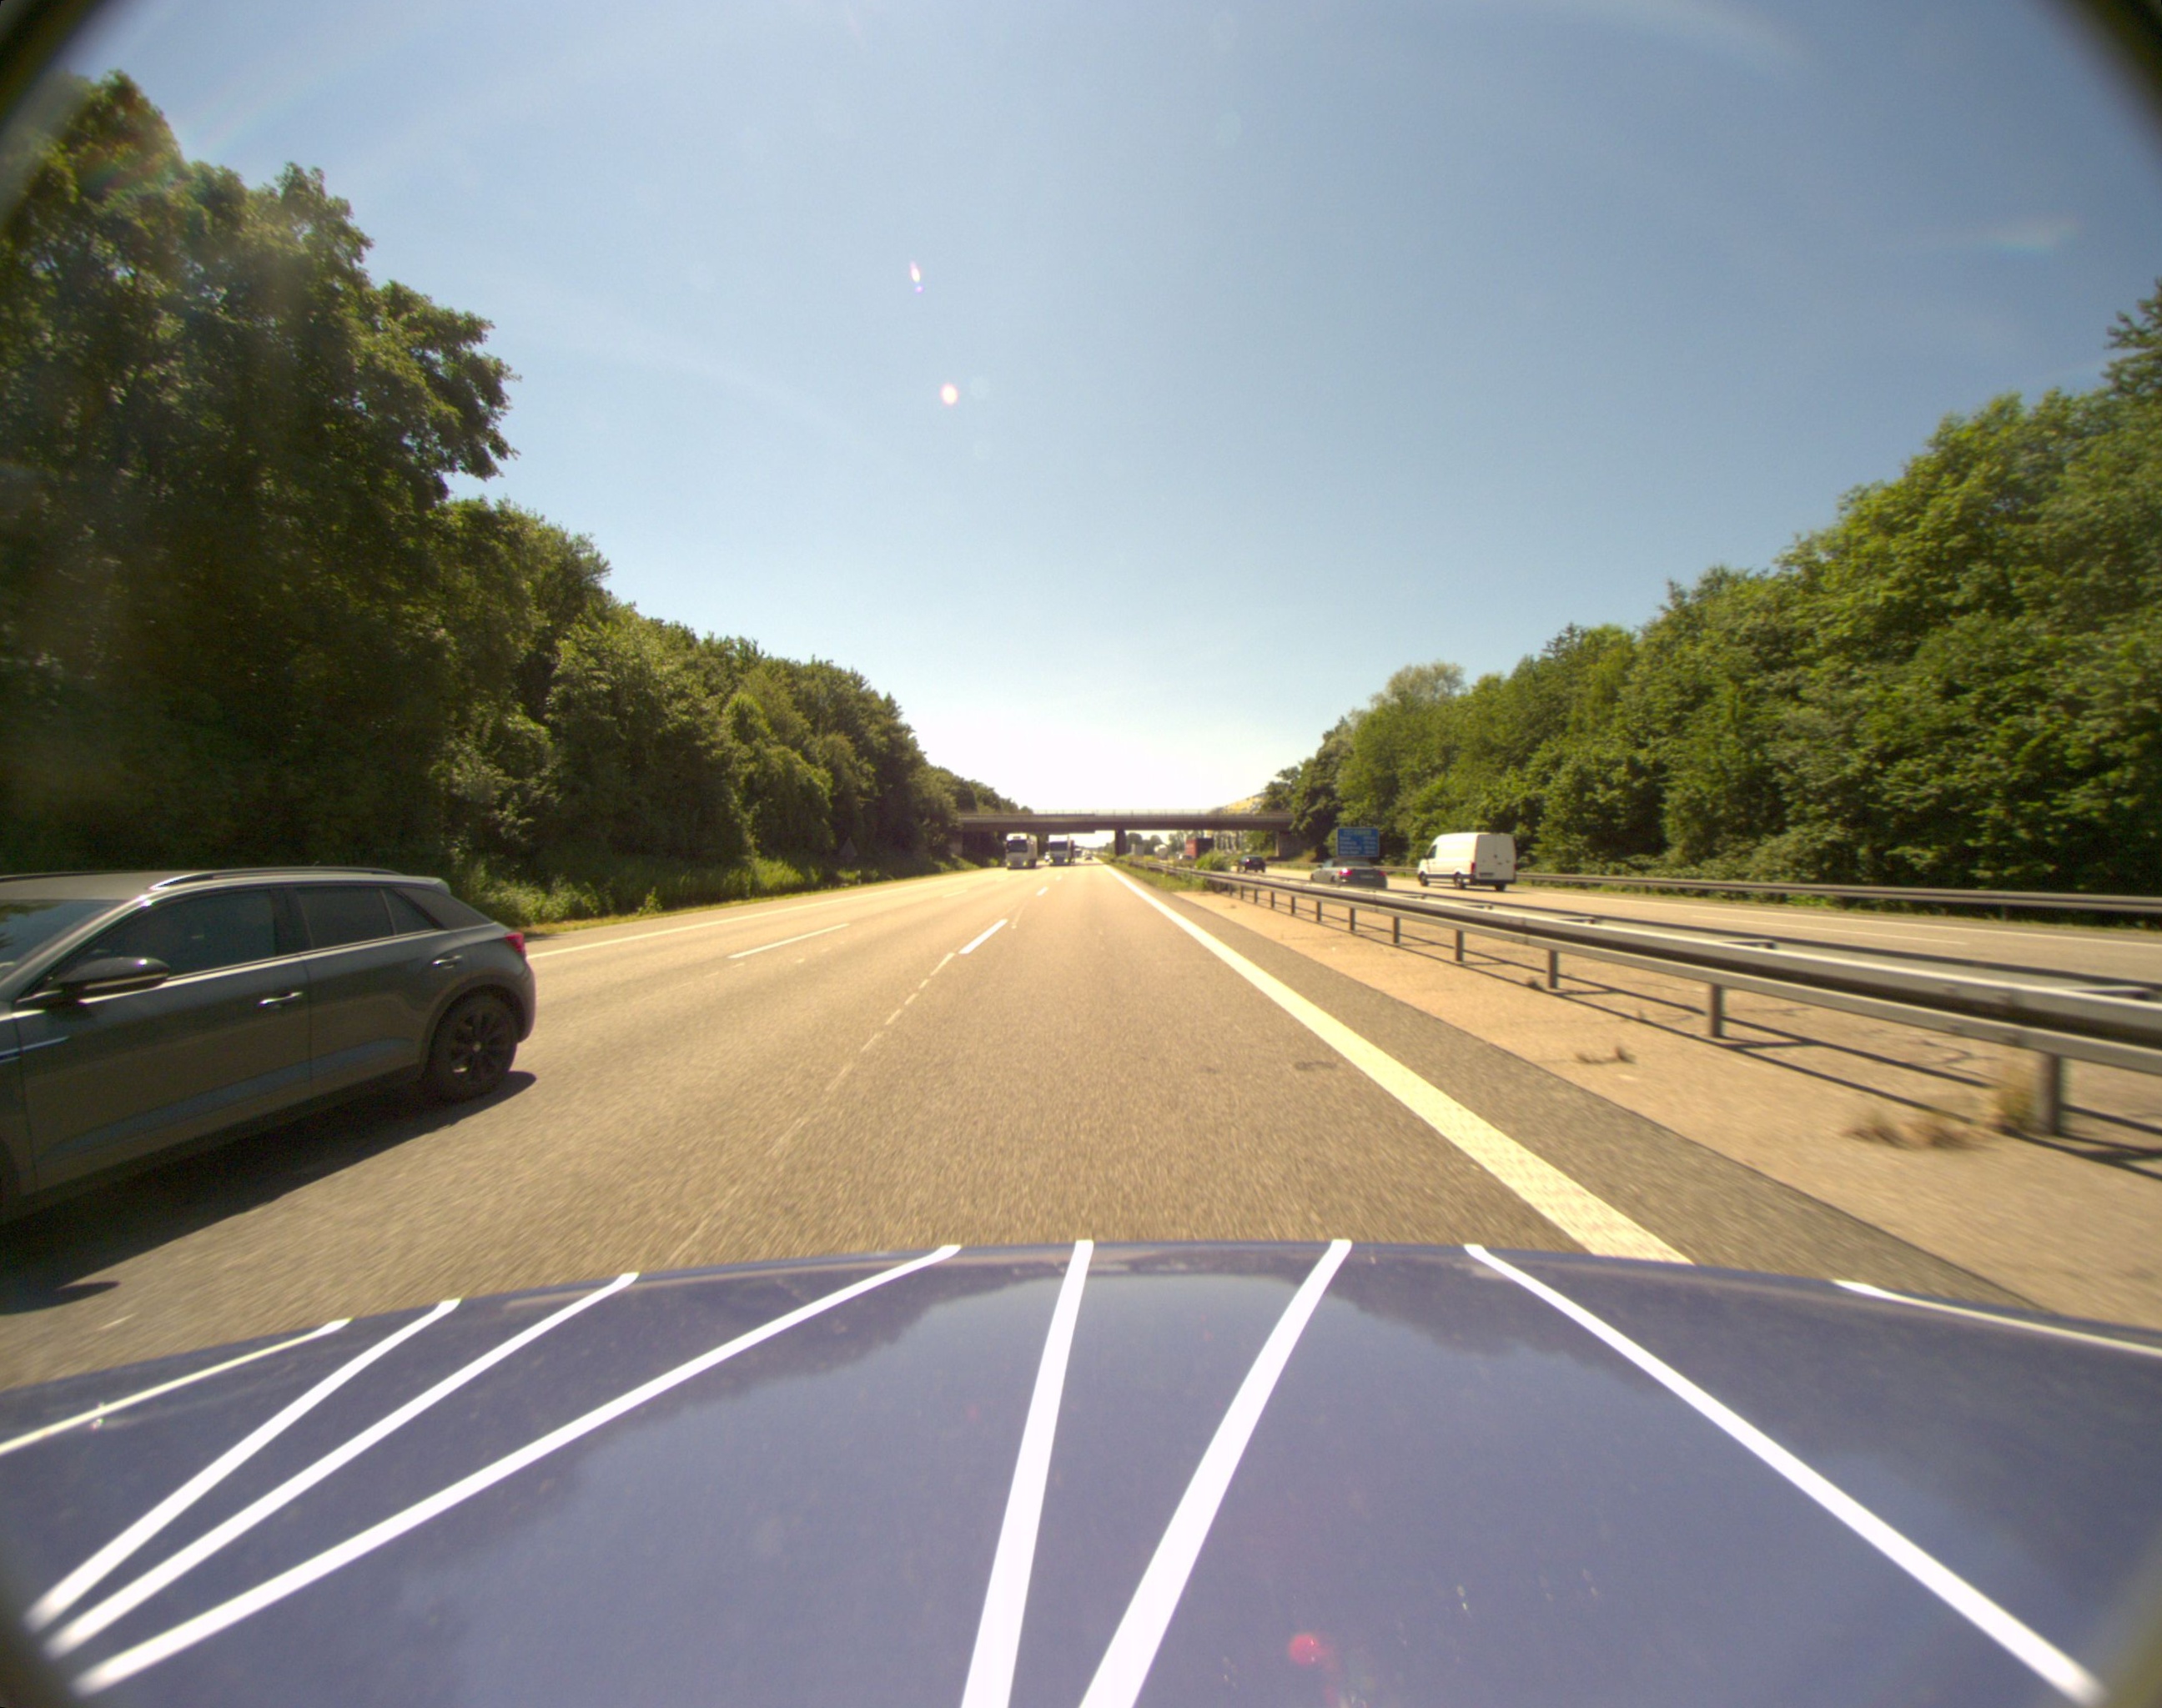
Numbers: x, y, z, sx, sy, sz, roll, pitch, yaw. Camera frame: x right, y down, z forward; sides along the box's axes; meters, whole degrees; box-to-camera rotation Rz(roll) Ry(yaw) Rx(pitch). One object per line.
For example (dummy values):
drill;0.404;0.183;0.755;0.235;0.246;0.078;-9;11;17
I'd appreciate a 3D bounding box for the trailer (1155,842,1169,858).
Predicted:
trailer;20.117;-0.963;189.767;2.364;3.772;12.074;1;0;1

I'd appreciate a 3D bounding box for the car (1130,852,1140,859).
car;11.353;0.280;160.671;1.672;1.503;4.518;0;0;-1

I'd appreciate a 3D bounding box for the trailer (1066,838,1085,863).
trailer;-1.029;-0.536;130.903;2.886;4.046;13.833;-2;0;-1

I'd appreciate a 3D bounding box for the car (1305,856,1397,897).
car;9.810;0.763;27.964;1.843;1.375;4.427;0;0;1

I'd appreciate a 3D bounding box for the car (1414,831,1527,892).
car;17.818;0.312;35.248;2.092;2.537;6.227;0;0;1

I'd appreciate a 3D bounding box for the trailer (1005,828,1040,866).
trailer;-7.003;-0.799;93.046;3.047;4.200;13.834;-2;0;0

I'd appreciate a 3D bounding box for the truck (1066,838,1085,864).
truck;-0.870;-0.545;123.923;2.870;4.046;5.770;-2;0;-1

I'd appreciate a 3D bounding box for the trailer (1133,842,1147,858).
trailer;16.238;-1.162;209.700;2.836;4.200;13.835;1;0;1

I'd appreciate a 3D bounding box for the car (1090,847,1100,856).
car;3.017;-0.462;168.192;2.073;1.959;5.109;0;0;-1

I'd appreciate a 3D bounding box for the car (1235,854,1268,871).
car;14.260;0.689;63.789;1.672;1.394;4.706;0;0;0

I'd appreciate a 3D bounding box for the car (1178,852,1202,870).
car;10.393;0.636;72.903;1.672;1.693;4.347;0;0;0

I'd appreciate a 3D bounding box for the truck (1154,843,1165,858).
truck;20.205;-0.969;196.215;2.365;3.753;5.251;1;0;1

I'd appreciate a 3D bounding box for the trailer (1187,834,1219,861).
trailer;19.429;-1.081;121.769;3.225;4.035;12.740;0;0;0

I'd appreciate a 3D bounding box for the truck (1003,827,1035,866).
truck;-6.968;-0.824;86.126;3.055;4.190;6.048;-2;0;0

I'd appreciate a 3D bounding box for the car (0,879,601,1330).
car;-4.898;0.999;3.786;1.904;1.523;4.760;-2;0;1

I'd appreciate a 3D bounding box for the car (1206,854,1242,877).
car;9.409;0.738;50.374;1.672;1.394;3.773;0;0;0

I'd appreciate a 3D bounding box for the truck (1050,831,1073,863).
truck;-2.522;-0.922;100.291;2.684;4.046;6.048;-2;0;0
